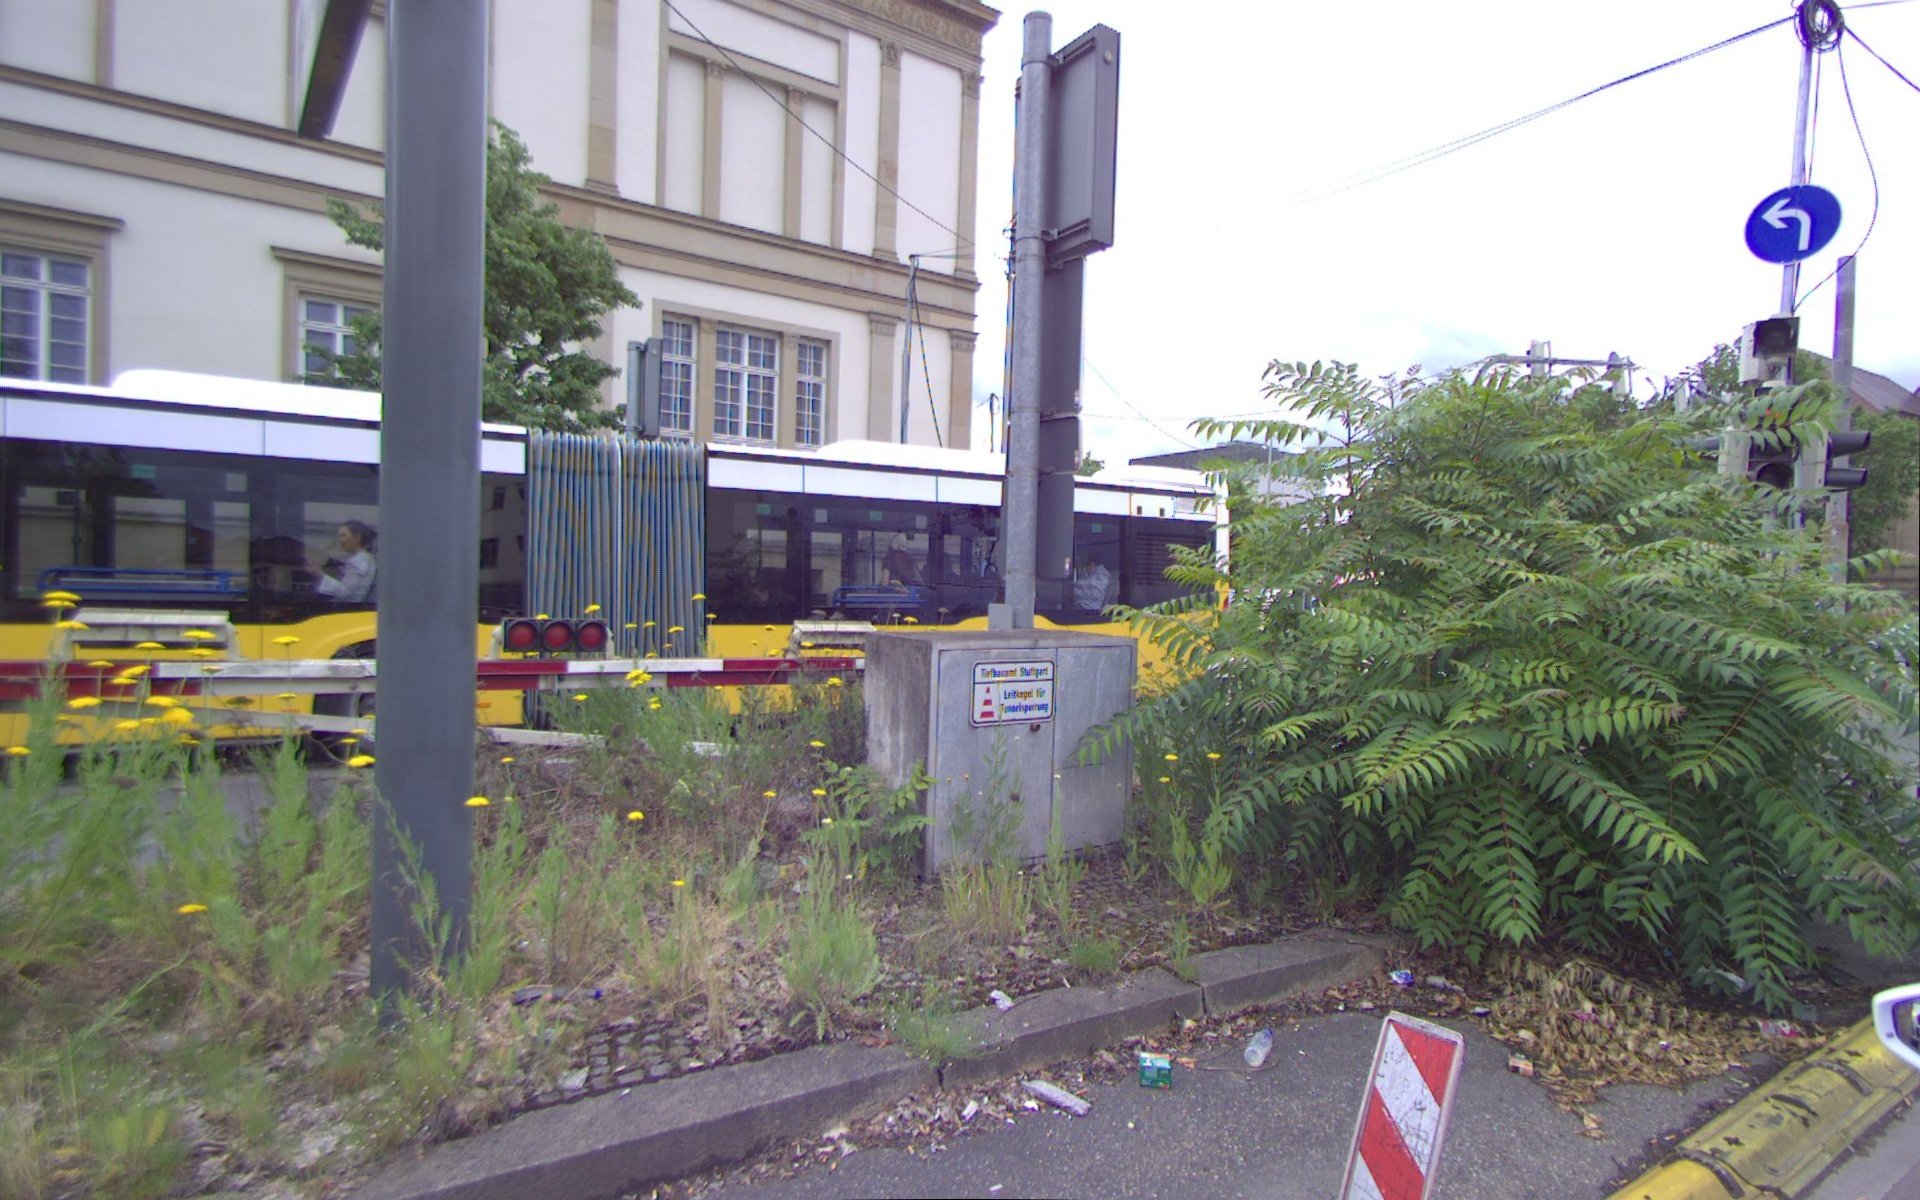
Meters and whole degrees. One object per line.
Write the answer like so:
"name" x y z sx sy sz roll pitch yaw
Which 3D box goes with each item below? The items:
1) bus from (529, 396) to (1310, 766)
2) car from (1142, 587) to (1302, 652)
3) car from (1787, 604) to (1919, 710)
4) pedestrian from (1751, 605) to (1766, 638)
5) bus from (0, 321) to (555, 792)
"bus" -0.115 -0.100 12.016 9.011 3.156 2.833 1 1 -29
"car" 7.536 0.518 29.286 1.979 1.698 4.285 1 1 -34
"car" 17.322 0.979 17.922 4.373 1.692 1.877 1 1 -18
"pedestrian" 49.754 1.359 62.586 0.516 2.040 0.428 2 1 17
"bus" -8.292 -0.339 7.341 9.629 3.156 2.833 1 1 -29
